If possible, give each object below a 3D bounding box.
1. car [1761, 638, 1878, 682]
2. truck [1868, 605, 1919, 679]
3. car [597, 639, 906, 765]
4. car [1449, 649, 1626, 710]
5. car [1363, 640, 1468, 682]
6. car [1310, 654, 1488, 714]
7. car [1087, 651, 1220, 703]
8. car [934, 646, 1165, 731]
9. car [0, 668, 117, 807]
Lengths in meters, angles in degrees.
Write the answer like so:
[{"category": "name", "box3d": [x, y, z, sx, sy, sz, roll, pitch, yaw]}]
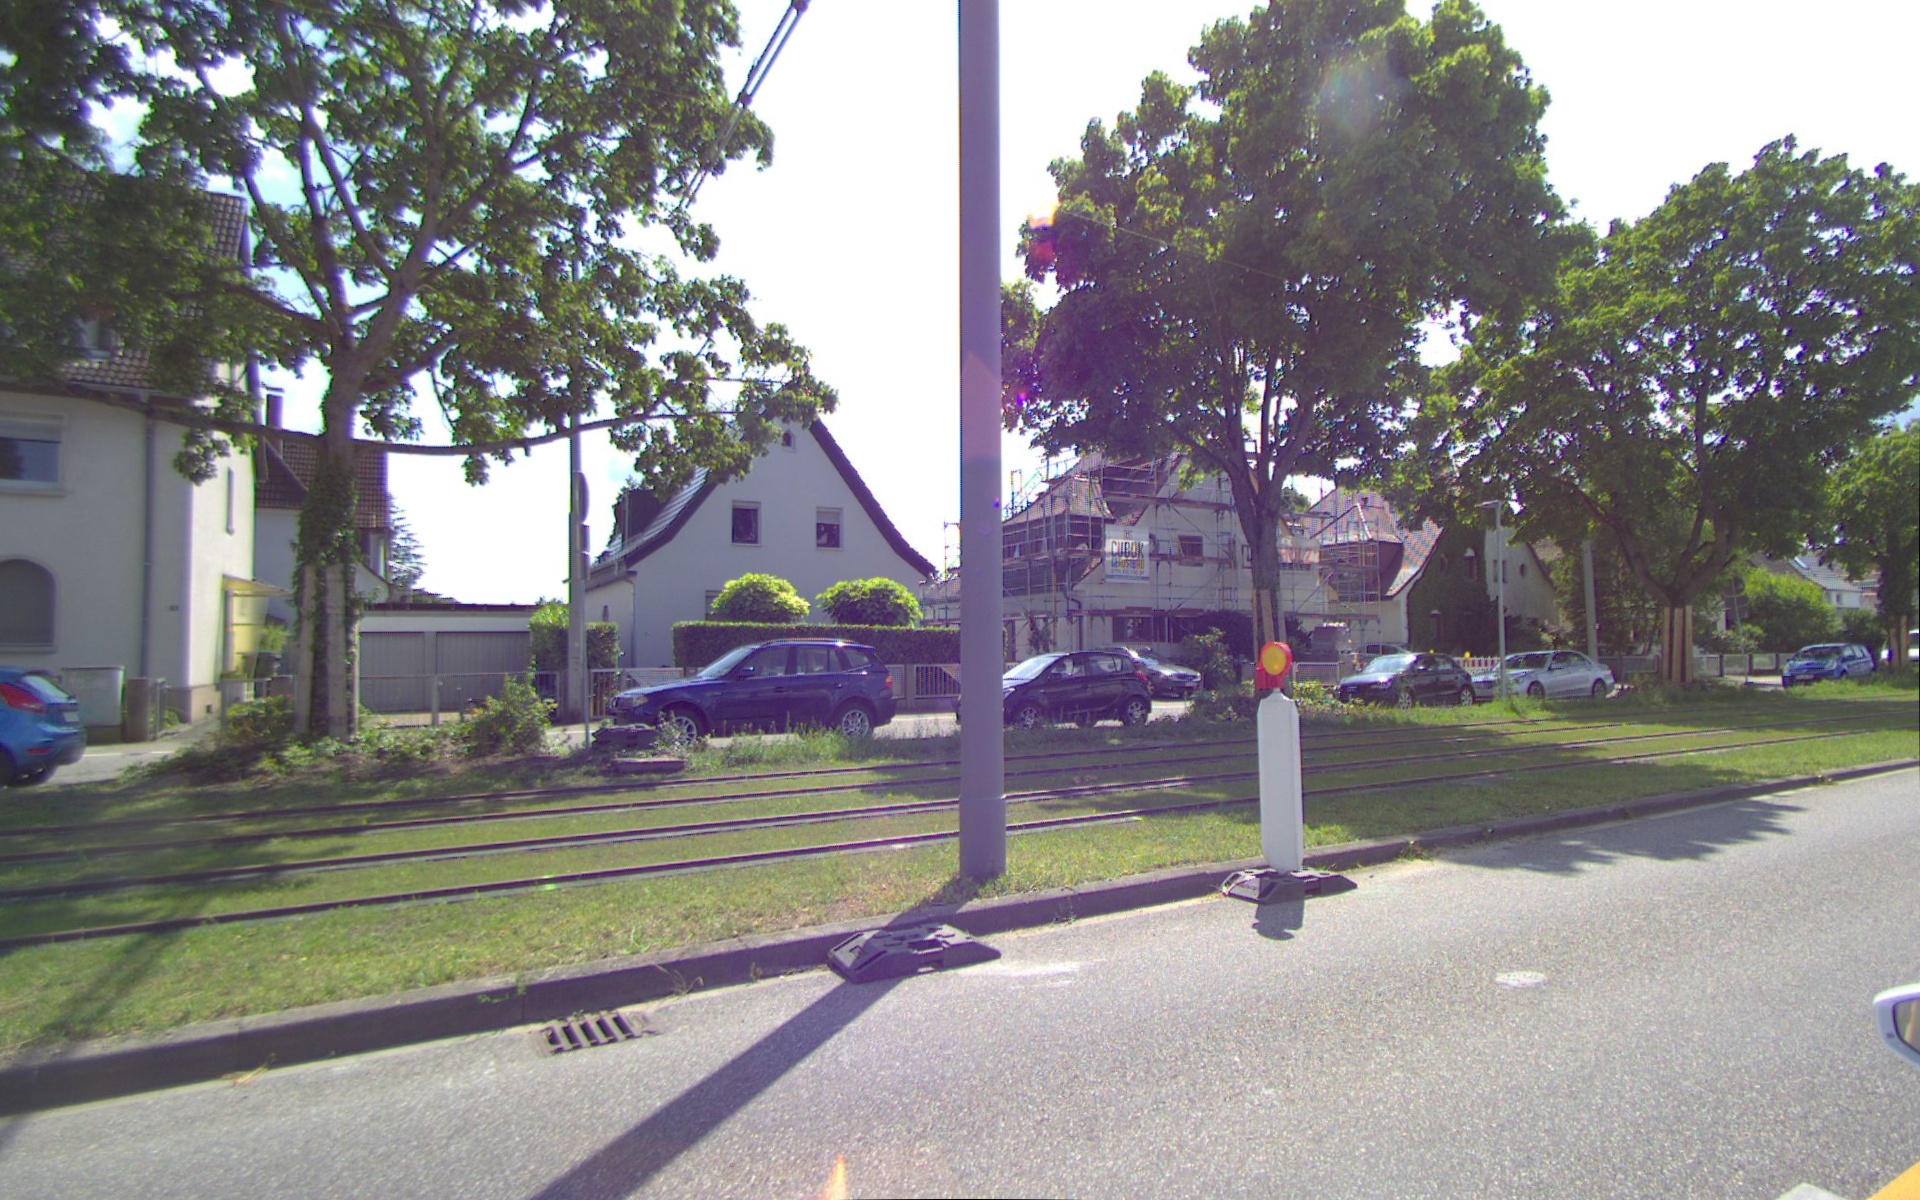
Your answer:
[{"category": "car", "box3d": [30.320, 2.113, 35.425, 3.955, 1.472, 1.984, 2, -4, -32]}, {"category": "truck", "box3d": [39.680, 1.683, 40.911, 6.201, 2.802, 1.986, 1, -6, -30]}, {"category": "car", "box3d": [-3.220, 1.522, 15.786, 4.345, 1.713, 1.983, 2, -5, -33]}, {"category": "car", "box3d": [15.365, 2.063, 26.667, 4.880, 1.501, 1.797, 2, -4, -30]}, {"category": "car", "box3d": [19.184, 2.603, 42.472, 1.851, 1.705, 3.632, 2, -4, -29]}, {"category": "car", "box3d": [10.472, 1.998, 23.973, 3.807, 1.334, 1.986, 2, -6, -30]}, {"category": "car", "box3d": [5.879, 2.317, 30.917, 1.958, 1.419, 3.970, 2, -3, -29]}, {"category": "car", "box3d": [1.703, 1.647, 19.034, 3.953, 1.457, 1.985, 2, -5, -30]}, {"category": "car", "box3d": [-11.729, 1.465, 10.712, 3.840, 1.454, 1.748, 2, -4, -28]}]
